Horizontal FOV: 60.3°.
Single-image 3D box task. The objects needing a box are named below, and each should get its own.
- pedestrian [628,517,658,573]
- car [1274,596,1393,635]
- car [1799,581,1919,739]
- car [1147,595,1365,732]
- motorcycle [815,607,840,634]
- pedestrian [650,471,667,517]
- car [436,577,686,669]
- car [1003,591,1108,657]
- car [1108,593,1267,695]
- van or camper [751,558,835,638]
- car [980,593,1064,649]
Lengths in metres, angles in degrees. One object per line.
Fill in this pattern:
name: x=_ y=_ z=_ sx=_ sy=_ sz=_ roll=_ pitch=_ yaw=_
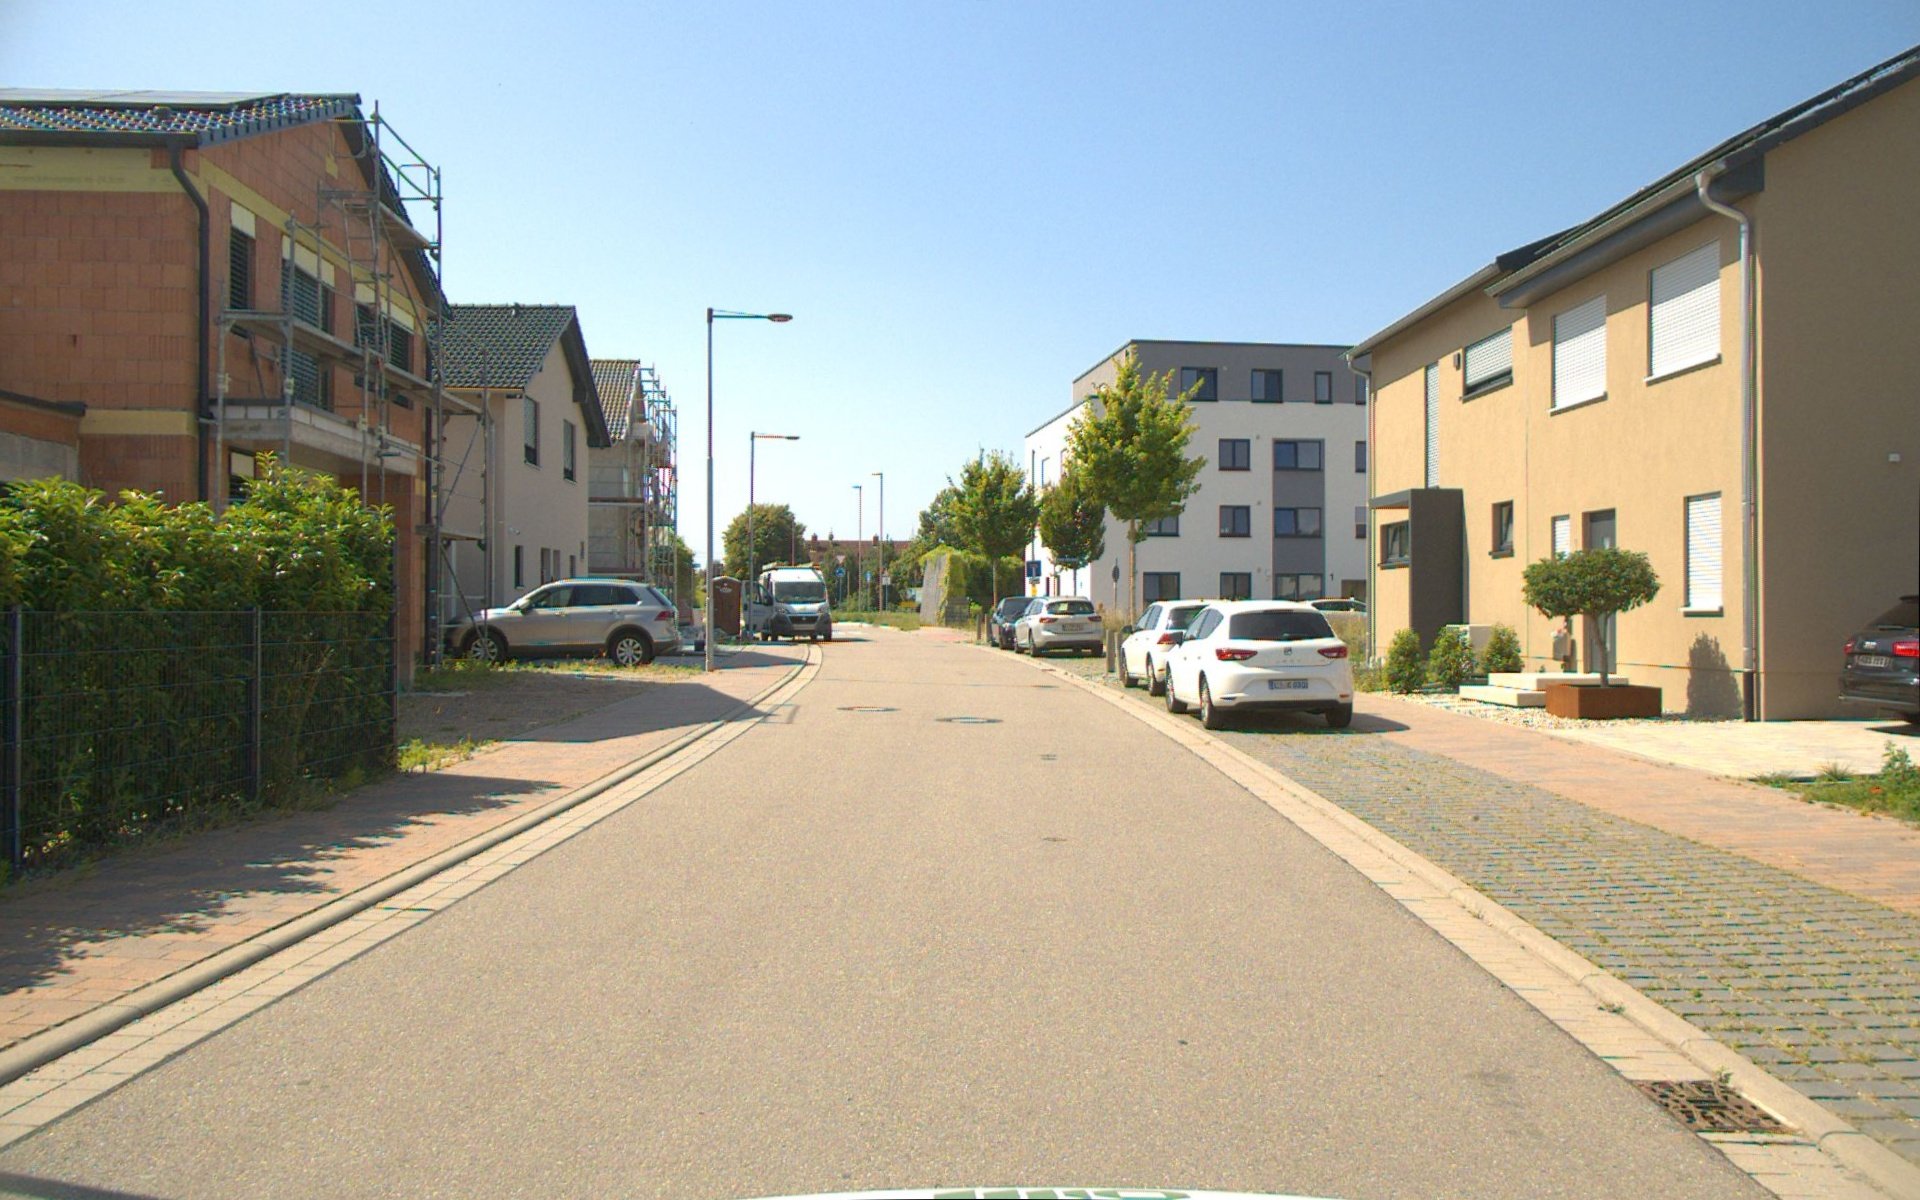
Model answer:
pedestrian: x=-10.071 y=-1.733 z=52.516 sx=0.568 sy=1.709 sz=0.744 roll=-3 pitch=-3 yaw=42
car: x=14.309 y=0.588 z=63.462 sx=4.080 sy=1.461 sz=1.879 roll=0 pitch=-1 yaw=-8
car: x=11.317 y=0.482 z=16.563 sx=4.788 sy=1.451 sz=2.000 roll=-2 pitch=0 yaw=0
car: x=3.558 y=0.708 z=20.726 sx=1.778 sy=1.481 sz=4.563 roll=-1 pitch=0 yaw=-2
motorcycle: x=-5.804 y=0.905 z=72.516 sx=0.938 sy=1.053 sz=2.432 roll=0 pitch=2 yaw=-8
pedestrian: x=-10.472 y=-3.677 z=57.446 sx=0.551 sy=1.526 sz=0.746 roll=0 pitch=-2 yaw=-11
car: x=-7.470 y=0.416 z=31.357 sx=4.339 sy=1.640 sz=1.997 roll=0 pitch=0 yaw=-6
car: x=2.395 y=0.574 z=43.042 sx=1.881 sy=1.537 sz=5.288 roll=-1 pitch=1 yaw=-6
car: x=3.618 y=0.653 z=27.107 sx=1.744 sy=1.451 sz=4.511 roll=-1 pitch=1 yaw=-3
van or camper: x=-5.858 y=-0.025 z=57.408 sx=2.233 sy=2.598 sz=6.347 roll=0 pitch=-1 yaw=-12
car: x=1.779 y=0.576 z=49.073 sx=1.881 sy=1.495 sz=5.135 roll=-1 pitch=1 yaw=-4
